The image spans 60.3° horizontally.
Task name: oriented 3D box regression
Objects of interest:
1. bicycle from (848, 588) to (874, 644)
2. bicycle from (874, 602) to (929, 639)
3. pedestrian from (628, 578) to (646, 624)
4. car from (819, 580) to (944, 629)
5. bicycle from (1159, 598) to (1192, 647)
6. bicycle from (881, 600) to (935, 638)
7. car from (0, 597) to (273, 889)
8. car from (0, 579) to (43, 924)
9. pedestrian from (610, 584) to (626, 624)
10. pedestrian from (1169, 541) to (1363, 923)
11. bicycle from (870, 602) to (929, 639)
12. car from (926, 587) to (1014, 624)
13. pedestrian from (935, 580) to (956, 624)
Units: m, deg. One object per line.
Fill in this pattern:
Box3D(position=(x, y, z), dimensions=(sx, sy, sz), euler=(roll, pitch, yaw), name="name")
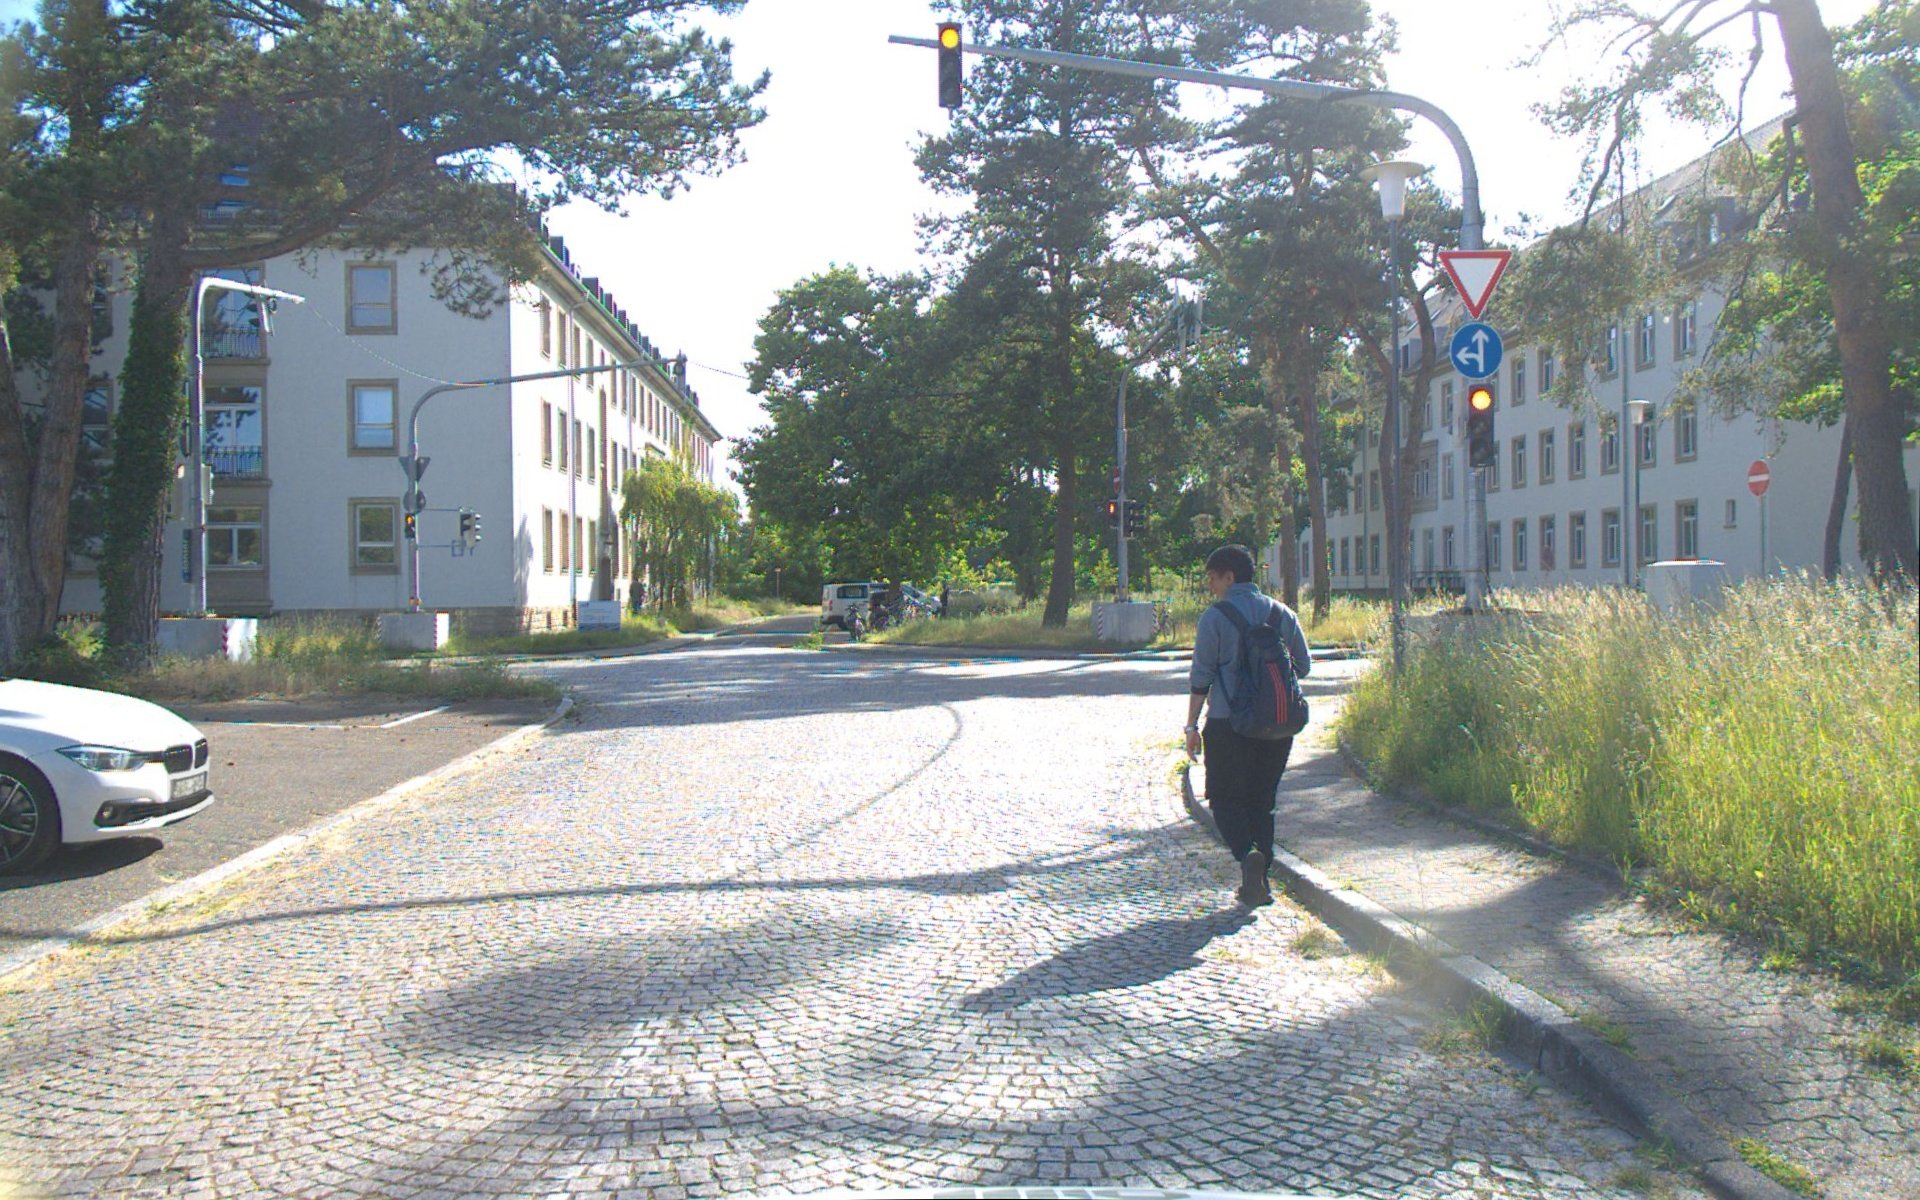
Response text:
Box3D(position=(-2.921, 0.451, 48.688), dimensions=(0.738, 1.608, 2.535), euler=(0, 0, -4), name="bicycle")
Box3D(position=(-1.864, 0.648, 52.510), dimensions=(1.694, 1.132, 0.483), euler=(-1, 0, -7), name="bicycle")
Box3D(position=(-12.755, 0.033, 65.244), dimensions=(0.598, 1.783, 0.627), euler=(0, 0, -20), name="pedestrian")
Box3D(position=(-3.333, 0.185, 69.774), dimensions=(4.979, 1.951, 1.993), euler=(-1, 0, -13), name="car")
Box3D(position=(5.266, 0.539, 40.504), dimensions=(0.706, 1.134, 2.585), euler=(-1, 0, 6), name="bicycle")
Box3D(position=(-1.674, 0.606, 53.204), dimensions=(1.694, 1.185, 0.560), euler=(-1, 0, -7), name="bicycle")
Box3D(position=(-6.452, 0.741, 9.876), dimensions=(3.905, 1.522, 1.773), euler=(2, 0, 1), name="car")
Box3D(position=(-6.428, 0.675, 7.257), dimensions=(3.804, 1.643, 1.659), euler=(2, 0, -5), name="car")
Box3D(position=(-13.447, 0.150, 65.066), dimensions=(0.596, 1.587, 0.544), euler=(0, 0, -10), name="pedestrian")
Box3D(position=(1.472, 0.613, 8.082), dimensions=(0.738, 1.755, 0.828), euler=(1, 0, -2), name="pedestrian")
Box3D(position=(-1.899, 0.650, 51.962), dimensions=(1.799, 1.132, 0.494), euler=(-1, 0, -7), name="bicycle")
Box3D(position=(0.424, 0.250, 73.894), dimensions=(3.676, 1.607, 1.737), euler=(0, 0, -11), name="car")
Box3D(position=(-0.601, 0.088, 68.383), dimensions=(0.746, 1.815, 0.682), euler=(-1, 0, -11), name="pedestrian")
